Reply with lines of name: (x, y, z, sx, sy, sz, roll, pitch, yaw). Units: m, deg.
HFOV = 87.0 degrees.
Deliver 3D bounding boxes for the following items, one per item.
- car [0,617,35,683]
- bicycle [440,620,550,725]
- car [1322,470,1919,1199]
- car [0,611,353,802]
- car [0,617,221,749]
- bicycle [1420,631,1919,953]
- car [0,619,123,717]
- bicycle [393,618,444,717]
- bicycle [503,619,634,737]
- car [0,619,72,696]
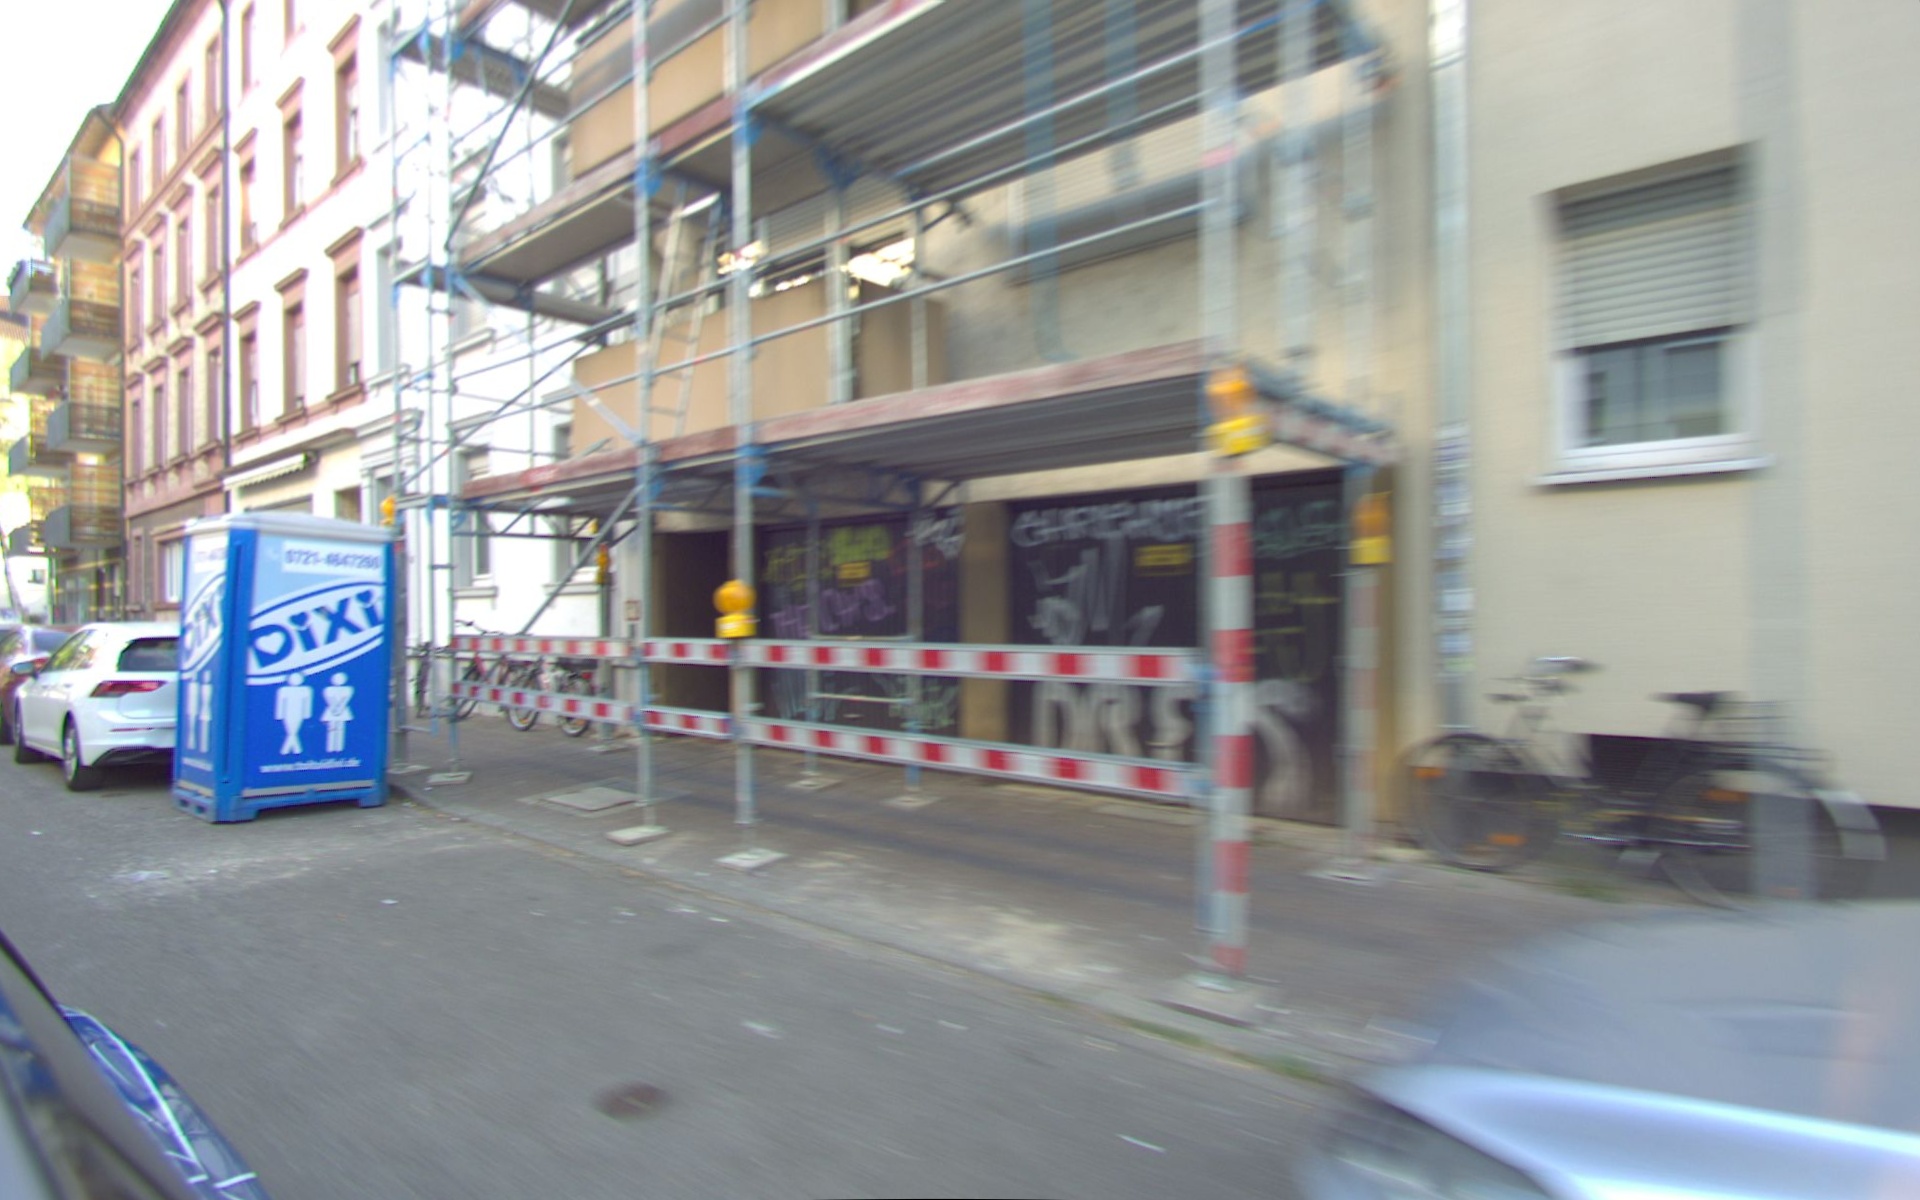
car: (-23.136, 1.122, 23.421, 3.996, 1.442, 1.974, 0, -2, 39)
bicycle: (-5.737, 0.854, 12.436, 1.814, 1.177, 0.400, 0, 3, 39)
car: (2.799, 0.646, 0.469, 4.613, 1.499, 1.903, 0, -2, 39)
car: (-7.927, 0.881, 10.089, 3.996, 1.516, 1.974, 0, -2, 39)
car: (-11.529, 0.960, 13.302, 3.996, 1.459, 1.974, 0, -2, 39)
bicycle: (3.101, 0.757, 4.562, 1.814, 1.177, 0.400, 0, 3, 39)
car: (-15.594, 1.039, 16.720, 3.996, 1.442, 1.974, 0, -2, 39)
bicycle: (-7.342, 0.869, 13.689, 0.483, 1.177, 1.687, -3, 3, -31)
bicycle: (-4.323, 0.816, 11.116, 1.814, 1.177, 0.437, 0, 3, 39)
car: (-19.610, 1.105, 20.362, 3.996, 1.442, 1.974, 0, -2, 39)
